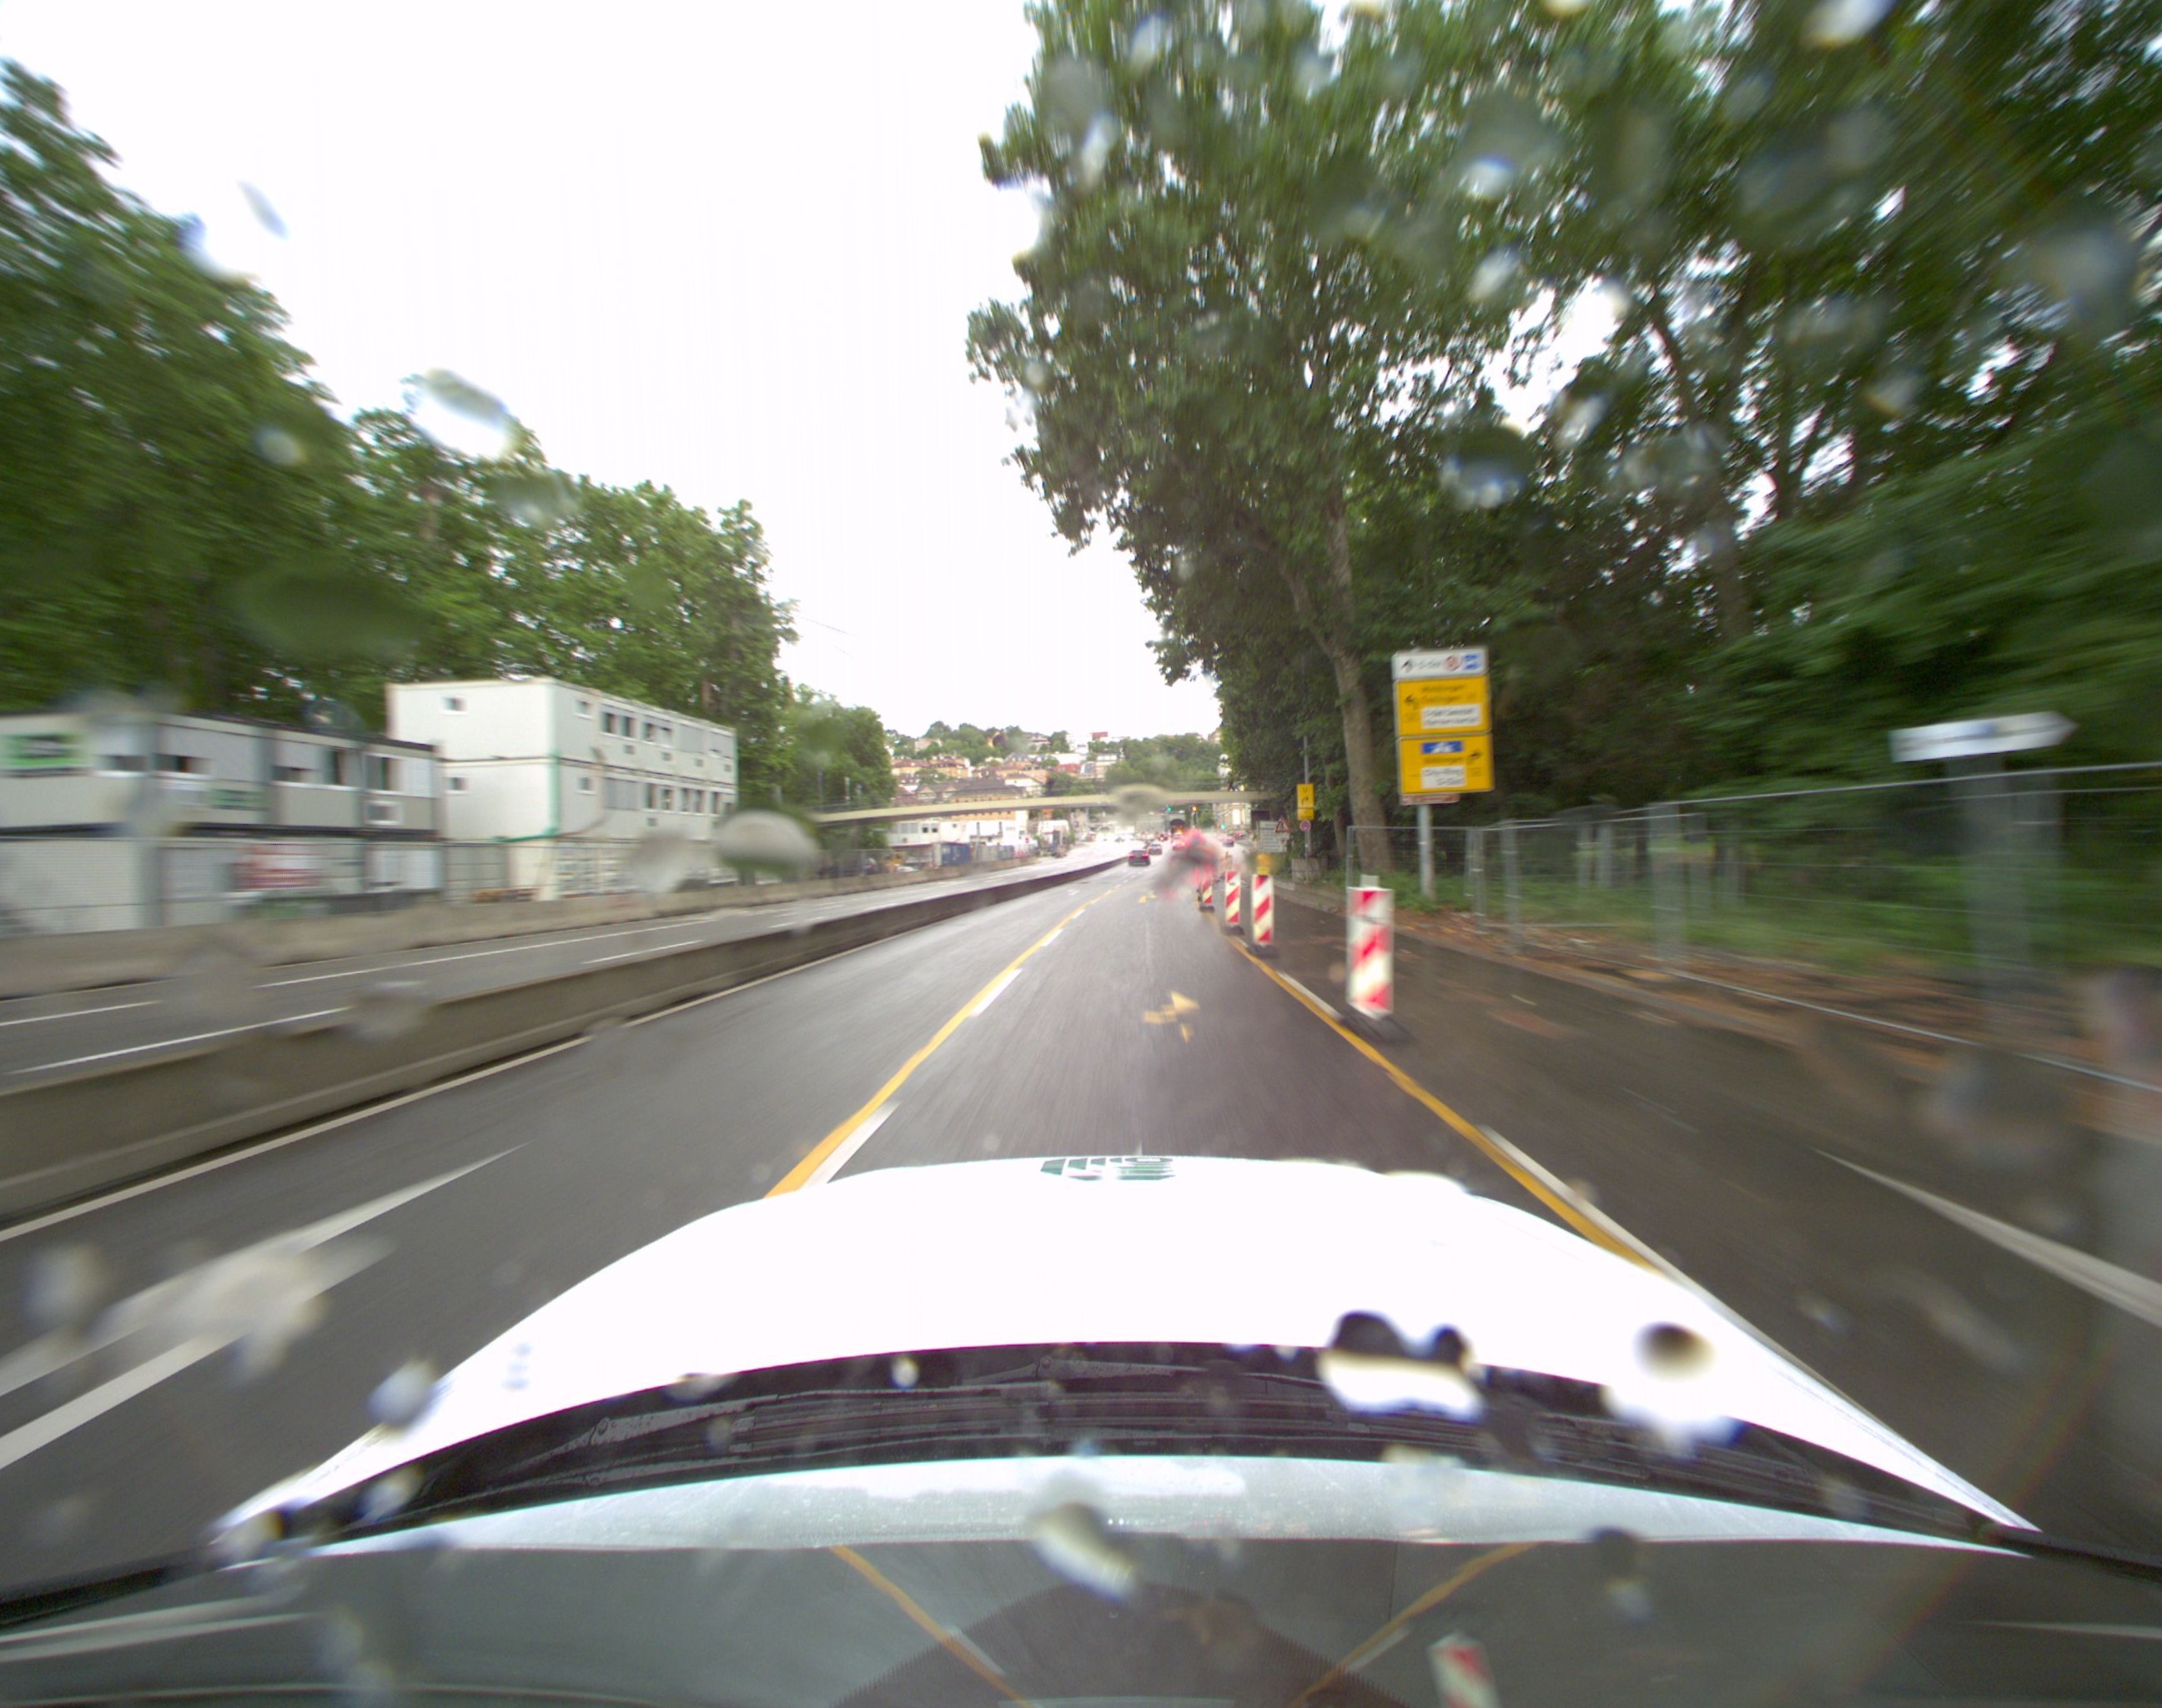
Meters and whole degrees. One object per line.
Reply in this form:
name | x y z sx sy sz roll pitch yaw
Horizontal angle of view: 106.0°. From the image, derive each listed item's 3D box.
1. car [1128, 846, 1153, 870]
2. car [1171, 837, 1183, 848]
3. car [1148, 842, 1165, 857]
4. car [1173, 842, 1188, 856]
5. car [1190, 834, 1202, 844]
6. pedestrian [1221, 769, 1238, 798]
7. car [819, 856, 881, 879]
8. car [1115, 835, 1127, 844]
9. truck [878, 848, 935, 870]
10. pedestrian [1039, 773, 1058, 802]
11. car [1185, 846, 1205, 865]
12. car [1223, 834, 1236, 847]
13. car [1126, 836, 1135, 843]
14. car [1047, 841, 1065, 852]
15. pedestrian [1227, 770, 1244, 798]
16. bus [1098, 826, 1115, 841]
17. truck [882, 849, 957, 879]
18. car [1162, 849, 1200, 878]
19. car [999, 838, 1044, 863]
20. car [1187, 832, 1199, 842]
car | 5.397 0.384 73.983 2.006 2.013 4.007 -3 -1 6
car | 17.640 -2.054 149.719 1.984 1.869 4.006 -3 0 5
car | 10.270 -0.609 110.452 1.982 2.013 4.010 -3 -1 9
car | 15.325 -0.781 125.240 2.041 2.013 4.006 -3 -1 5
car | 21.565 -2.847 152.464 1.984 1.698 4.005 -3 0 4
pedestrian | 11.293 -5.357 61.870 1.139 2.060 1.063 -3 -1 14
car | -18.595 1.067 65.687 4.412 1.627 1.957 -3 0 -3
car | 8.180 -2.933 165.199 2.071 1.630 4.861 -3 1 5
truck | -17.908 0.516 83.505 5.227 2.013 2.165 -3 0 2
pedestrian | -2.485 -5.098 62.103 1.139 2.060 1.063 -3 -1 14
car | 13.379 0.205 95.732 2.094 2.050 4.007 -3 -1 6
car | 25.138 -2.260 137.964 1.983 2.013 4.007 -1 1 6
car | 11.044 -3.297 182.359 1.700 1.489 3.458 -3 0 8
car | -3.991 -1.182 129.131 1.981 1.621 4.012 -2 2 10
pedestrian | 11.937 -5.396 62.783 1.139 2.060 1.063 -3 -1 14
bus | 5.694 -4.523 179.578 2.792 3.184 8.824 -3 0 6
truck | -14.840 0.922 75.166 6.258 2.452 2.693 -3 -1 -1
car | 5.794 0.496 46.877 1.800 1.527 4.012 -3 0 11
car | -7.198 -0.422 99.290 1.974 2.875 6.091 -3 -1 33
car | 21.836 -3.323 158.638 1.984 1.698 4.005 -3 0 4
